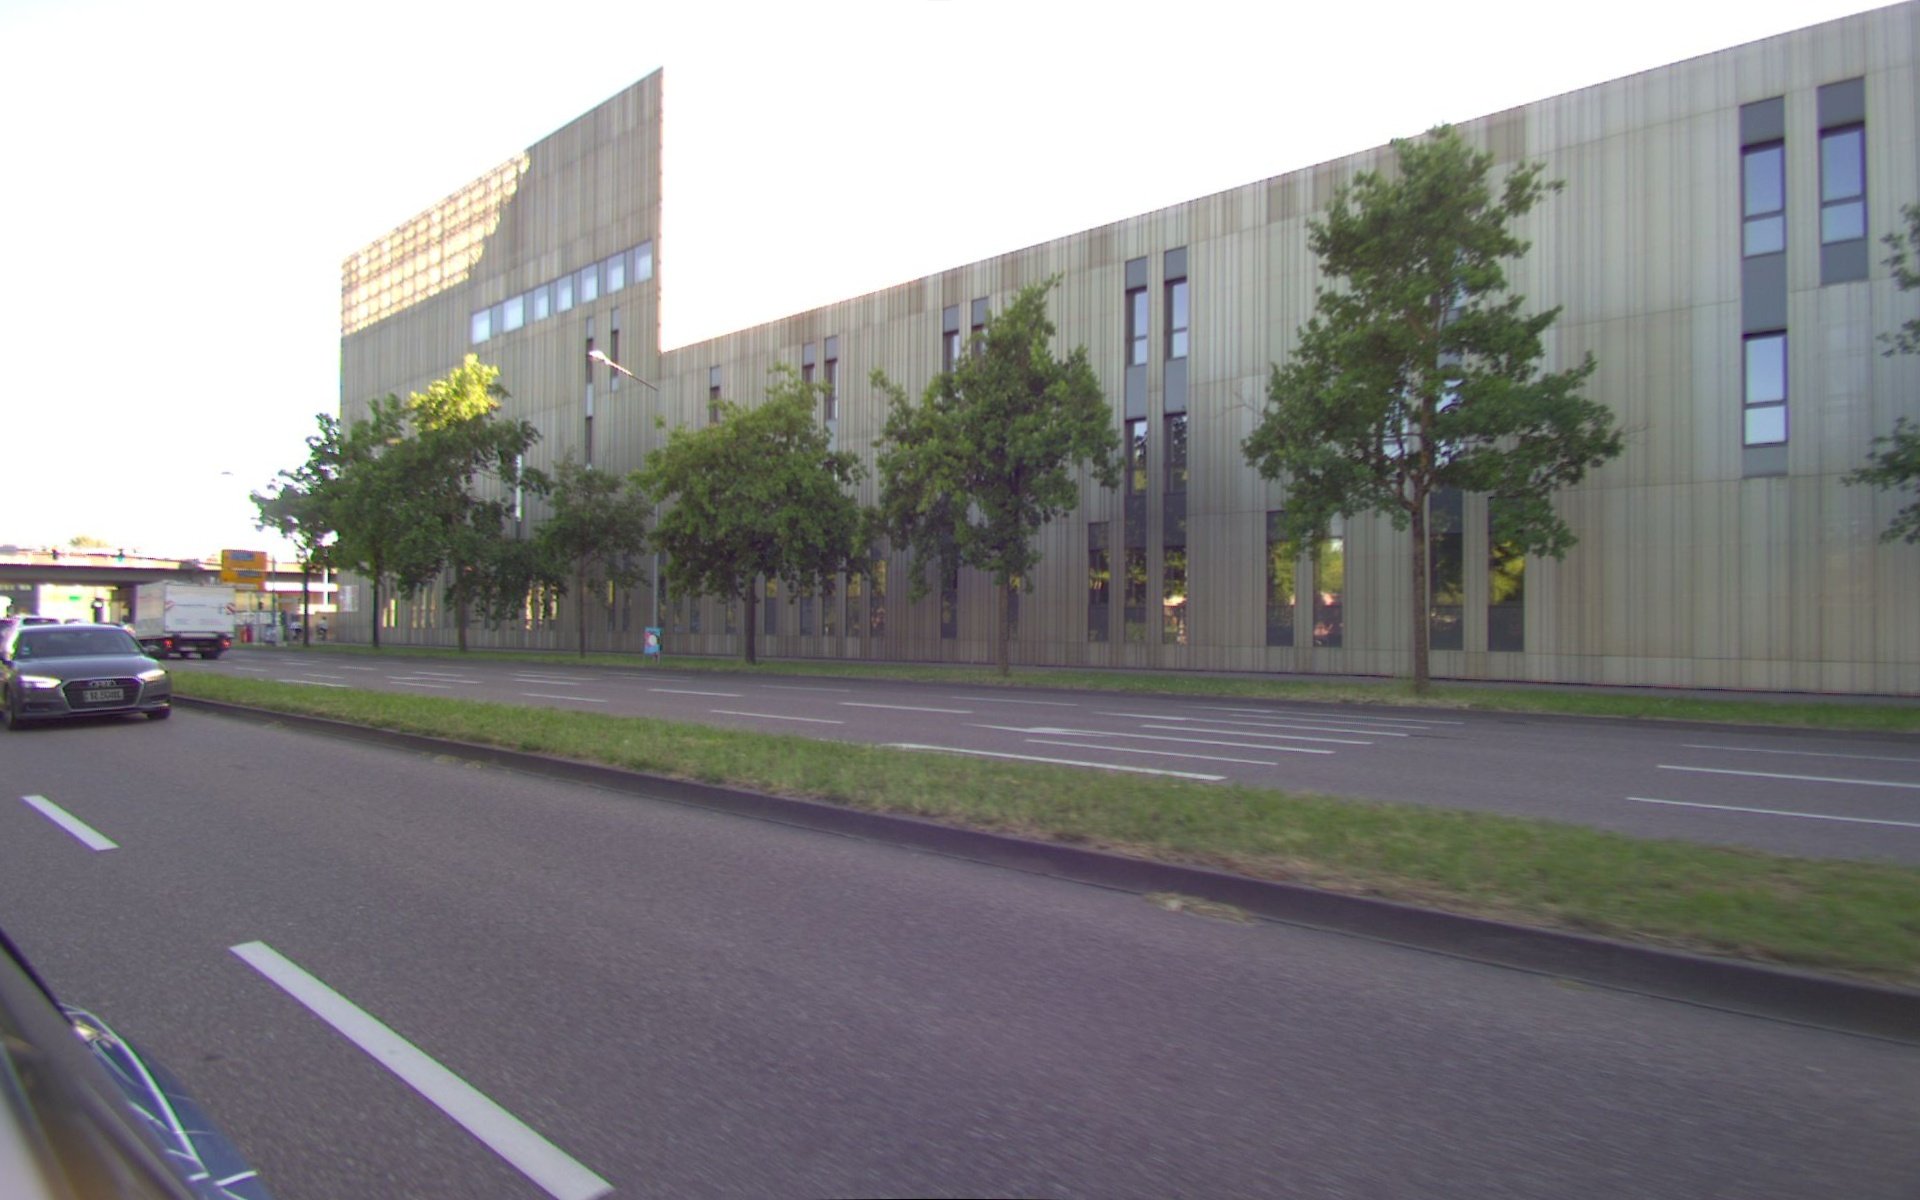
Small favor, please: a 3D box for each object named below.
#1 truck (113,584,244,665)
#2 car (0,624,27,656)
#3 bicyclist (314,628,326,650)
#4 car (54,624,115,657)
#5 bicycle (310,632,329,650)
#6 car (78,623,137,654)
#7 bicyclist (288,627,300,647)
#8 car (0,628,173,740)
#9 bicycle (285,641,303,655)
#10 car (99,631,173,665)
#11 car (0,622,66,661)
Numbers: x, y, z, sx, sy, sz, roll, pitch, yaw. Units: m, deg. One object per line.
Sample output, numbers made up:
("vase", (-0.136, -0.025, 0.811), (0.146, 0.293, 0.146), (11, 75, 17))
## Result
("truck", (-31.537, 1.048, 40.740), (7.109, 2.983, 2.658), (-1, -4, 41))
("car", (-48.716, 2.025, 51.355), (3.211, 1.592, 1.585), (-1, -3, 41))
("bicyclist", (-44.841, 2.756, 70.890), (0.644, 1.518, 0.502), (-2, -3, 39))
("car", (-46.376, 2.142, 53.575), (3.997, 1.669, 1.822), (-1, -3, 41))
("bicycle", (-44.915, 2.877, 70.950), (2.097, 1.280, 0.507), (-2, -3, 39))
("car", (-42.240, 1.914, 50.132), (3.637, 1.481, 1.604), (-2, -4, 40))
("bicyclist", (-46.617, 2.587, 70.848), (0.752, 1.453, 0.502), (-2, -3, 39))
("car", (-13.292, 1.134, 14.972), (4.361, 1.415, 1.681), (-1, -2, 40))
("bicycle", (-46.601, 3.352, 70.808), (1.752, 0.897, 0.507), (-2, -2, 39))
("car", (-37.028, 2.154, 45.435), (3.996, 1.435, 1.817), (-2, -4, 40))
("car", (-42.755, 1.884, 46.465), (4.655, 1.695, 1.805), (-1, -4, 40))
